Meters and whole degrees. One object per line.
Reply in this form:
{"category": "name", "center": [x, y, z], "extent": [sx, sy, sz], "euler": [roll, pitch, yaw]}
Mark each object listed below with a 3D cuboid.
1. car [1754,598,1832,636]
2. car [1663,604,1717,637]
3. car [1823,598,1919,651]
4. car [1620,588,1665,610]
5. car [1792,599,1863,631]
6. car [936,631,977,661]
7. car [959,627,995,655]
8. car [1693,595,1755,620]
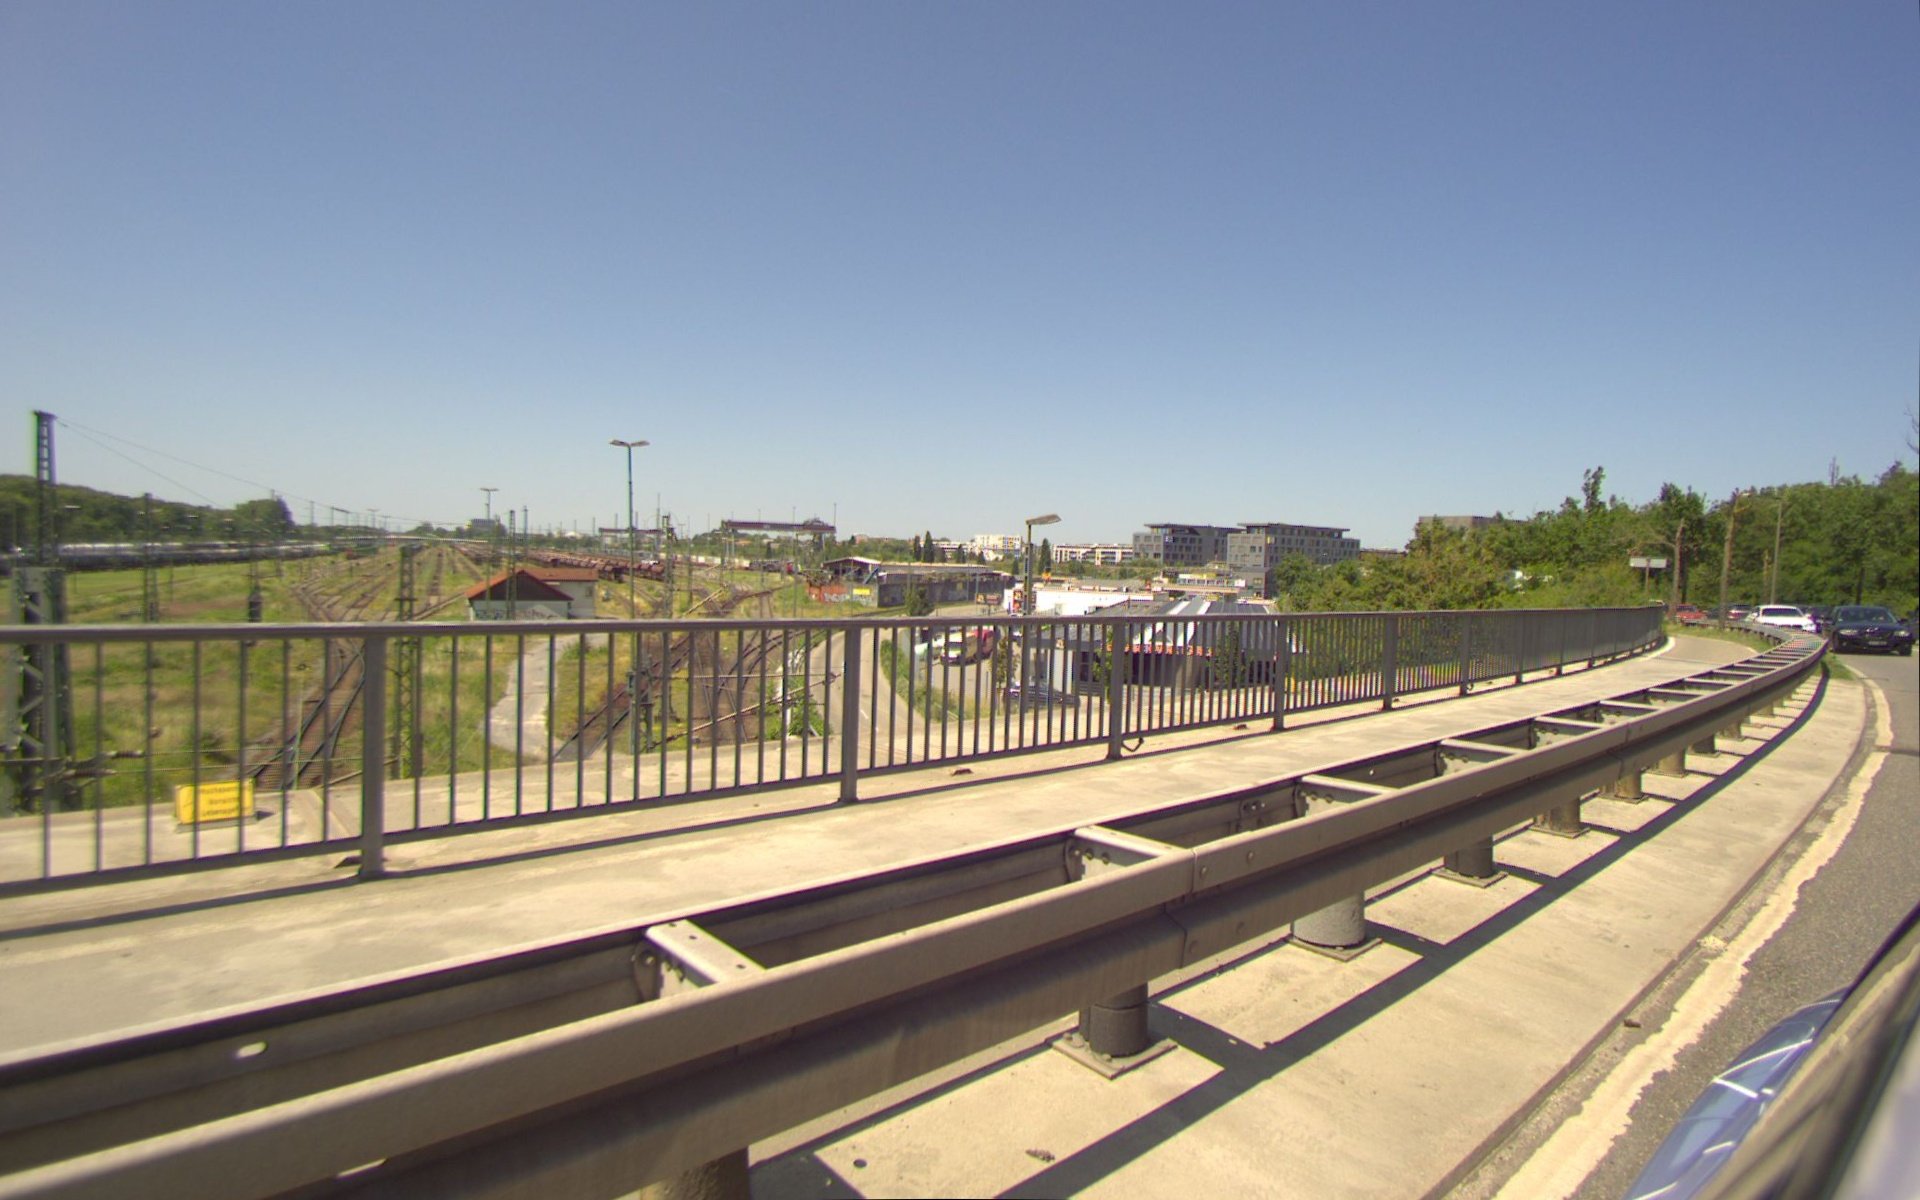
{"category": "car", "center": [33.806, 0.638, 41.183], "extent": [1.802, 1.446, 3.677], "euler": [0, 0, 29]}
{"category": "car", "center": [42.702, 1.151, 59.278], "extent": [1.883, 1.675, 4.220], "euler": [1, 2, 26]}
{"category": "car", "center": [26.925, 0.667, 29.851], "extent": [1.558, 1.434, 4.077], "euler": [0, 0, 31]}
{"category": "car", "center": [51.153, -0.089, 75.929], "extent": [1.730, 1.565, 4.364], "euler": [1, 1, 20]}
{"category": "car", "center": [42.413, 0.688, 49.570], "extent": [1.747, 1.461, 4.520], "euler": [0, 1, 29]}
{"category": "car", "center": [-0.265, 3.969, 88.008], "extent": [2.122, 2.382, 4.904], "euler": [-4, -2, 16]}
{"category": "car", "center": [1.652, 3.842, 94.667], "extent": [2.122, 2.382, 4.904], "euler": [-4, -2, 15]}
{"category": "car", "center": [46.434, 0.420, 61.605], "extent": [1.699, 1.445, 4.084], "euler": [1, 1, 18]}
